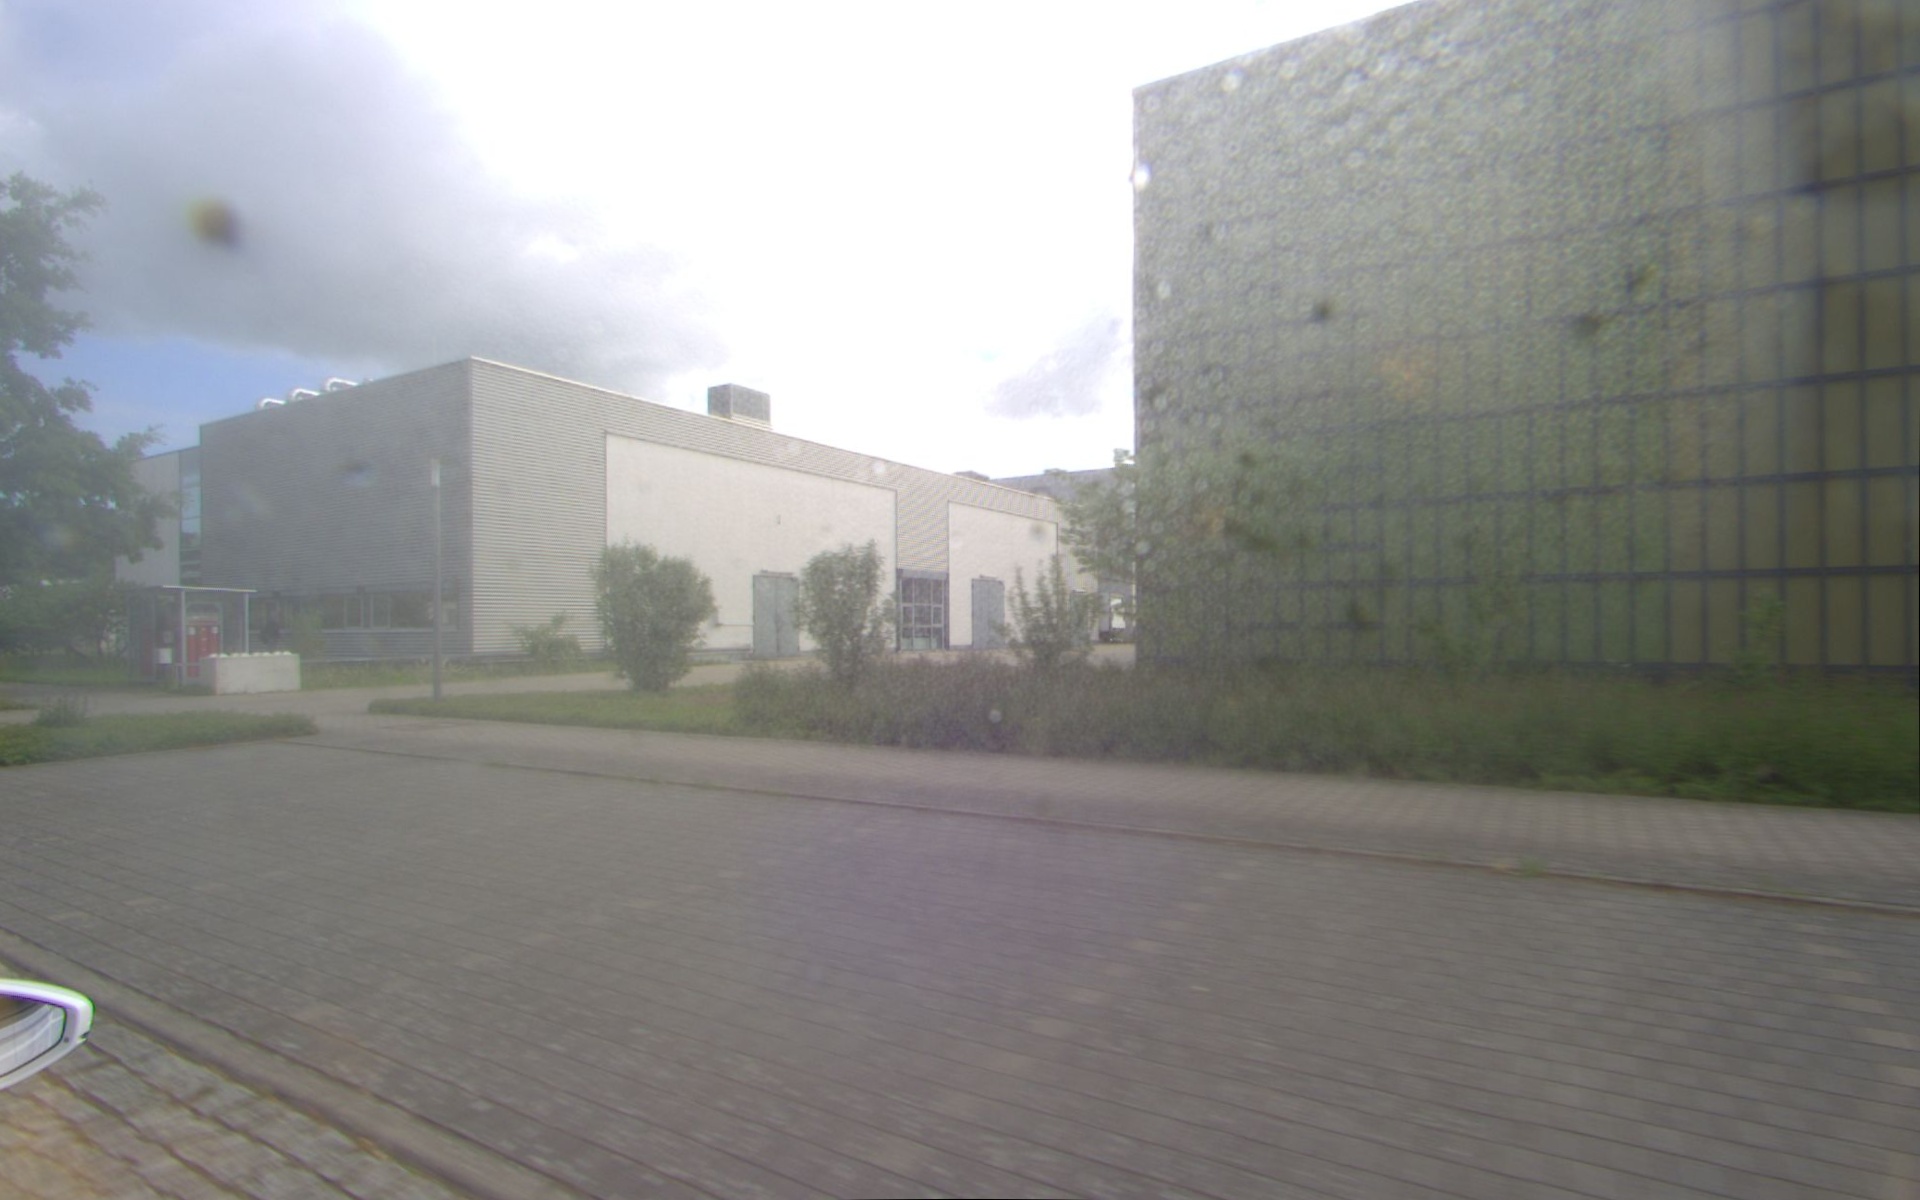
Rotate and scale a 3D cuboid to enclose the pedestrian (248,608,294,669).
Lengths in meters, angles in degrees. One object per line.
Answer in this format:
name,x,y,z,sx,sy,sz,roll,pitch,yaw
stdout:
pedestrian,-22.455,1.252,32.637,0.838,1.961,0.920,0,-1,2
